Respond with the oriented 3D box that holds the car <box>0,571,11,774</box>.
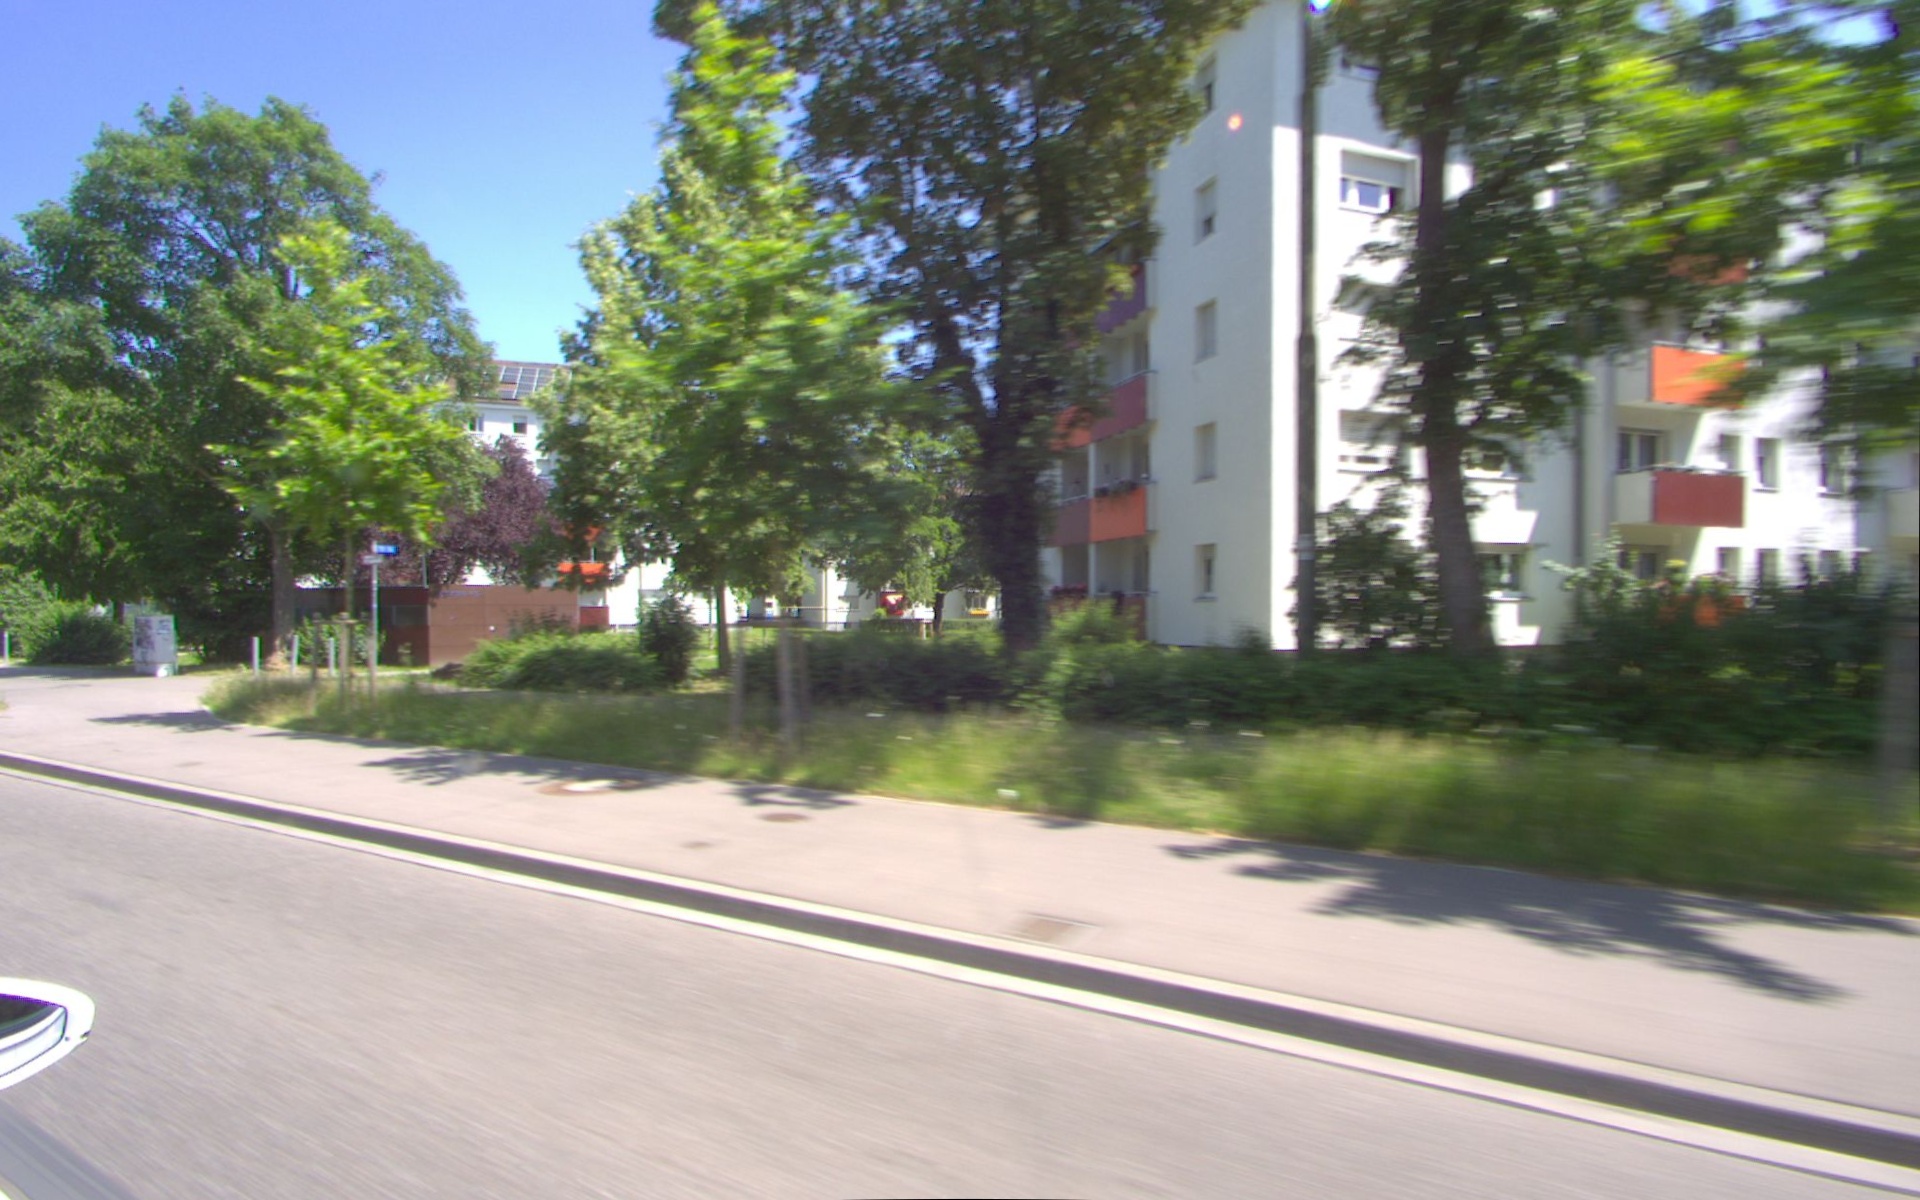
[{"bbox_3d":[-11.311,0.670,9.795,4.390,1.906,1.822,0,-2,31],"label":"car"}]
